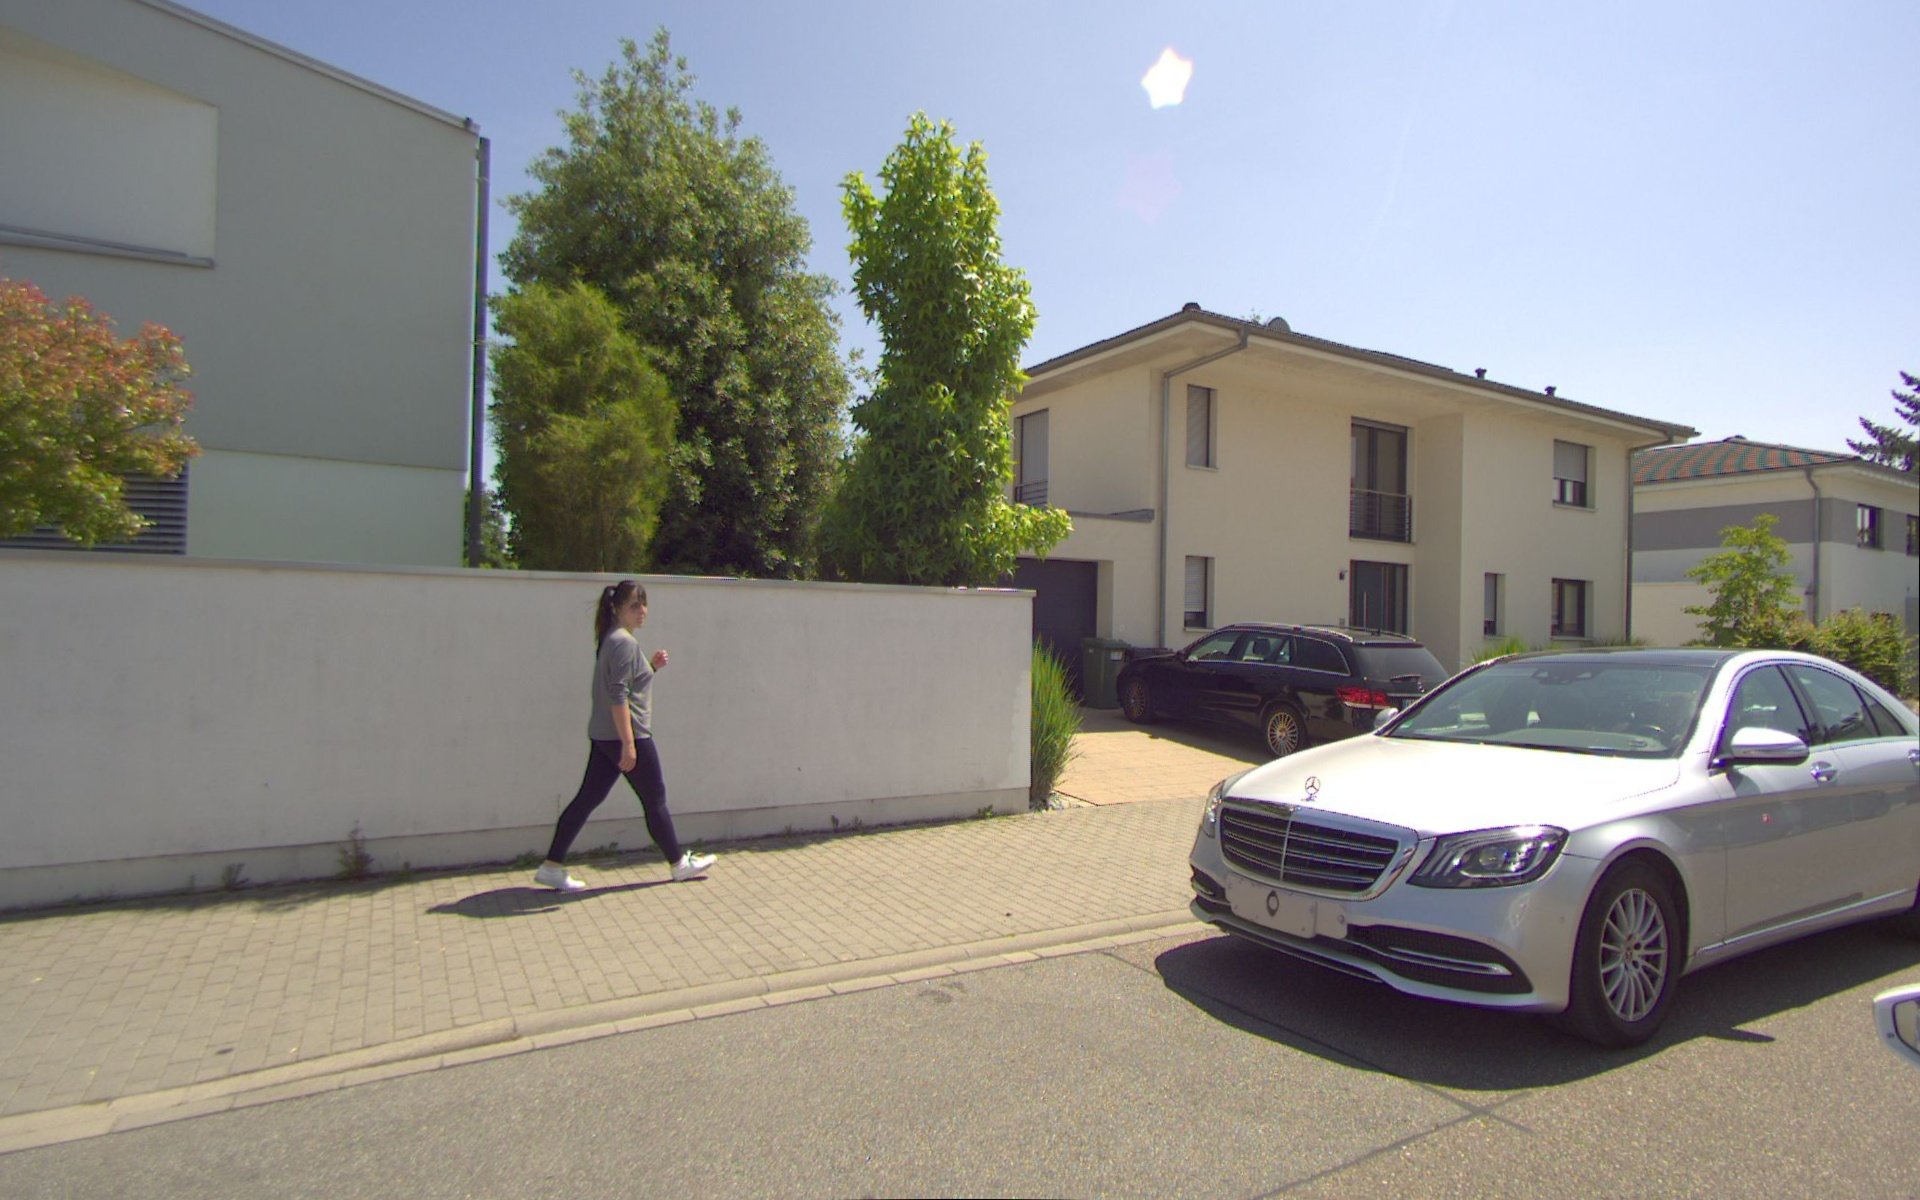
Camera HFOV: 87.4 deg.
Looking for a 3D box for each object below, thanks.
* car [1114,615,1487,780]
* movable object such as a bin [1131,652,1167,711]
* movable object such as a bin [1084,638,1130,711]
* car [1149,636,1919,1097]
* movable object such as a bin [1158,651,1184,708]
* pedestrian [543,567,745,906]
[{"bbox_3d":[3.959,1.042,12.562,1.826,1.493,4.413,2,1,-26],"label":"car"},{"bbox_3d":[2.976,1.270,15.783,0.472,0.895,0.308,2,-1,-36],"label":"movable object such as a bin"},{"bbox_3d":[2.266,1.133,15.482,0.584,1.087,0.381,2,-1,-36],"label":"movable object such as a bin"},{"bbox_3d":[3.384,0.989,5.252,4.643,1.497,1.845,2,-3,-29],"label":"car"},{"bbox_3d":[3.377,1.263,16.090,0.391,0.895,0.183,2,-1,-37],"label":"movable object such as a bin"},{"bbox_3d":[-1.832,0.733,5.804,0.949,1.770,0.711,2,-1,-29],"label":"pedestrian"}]
